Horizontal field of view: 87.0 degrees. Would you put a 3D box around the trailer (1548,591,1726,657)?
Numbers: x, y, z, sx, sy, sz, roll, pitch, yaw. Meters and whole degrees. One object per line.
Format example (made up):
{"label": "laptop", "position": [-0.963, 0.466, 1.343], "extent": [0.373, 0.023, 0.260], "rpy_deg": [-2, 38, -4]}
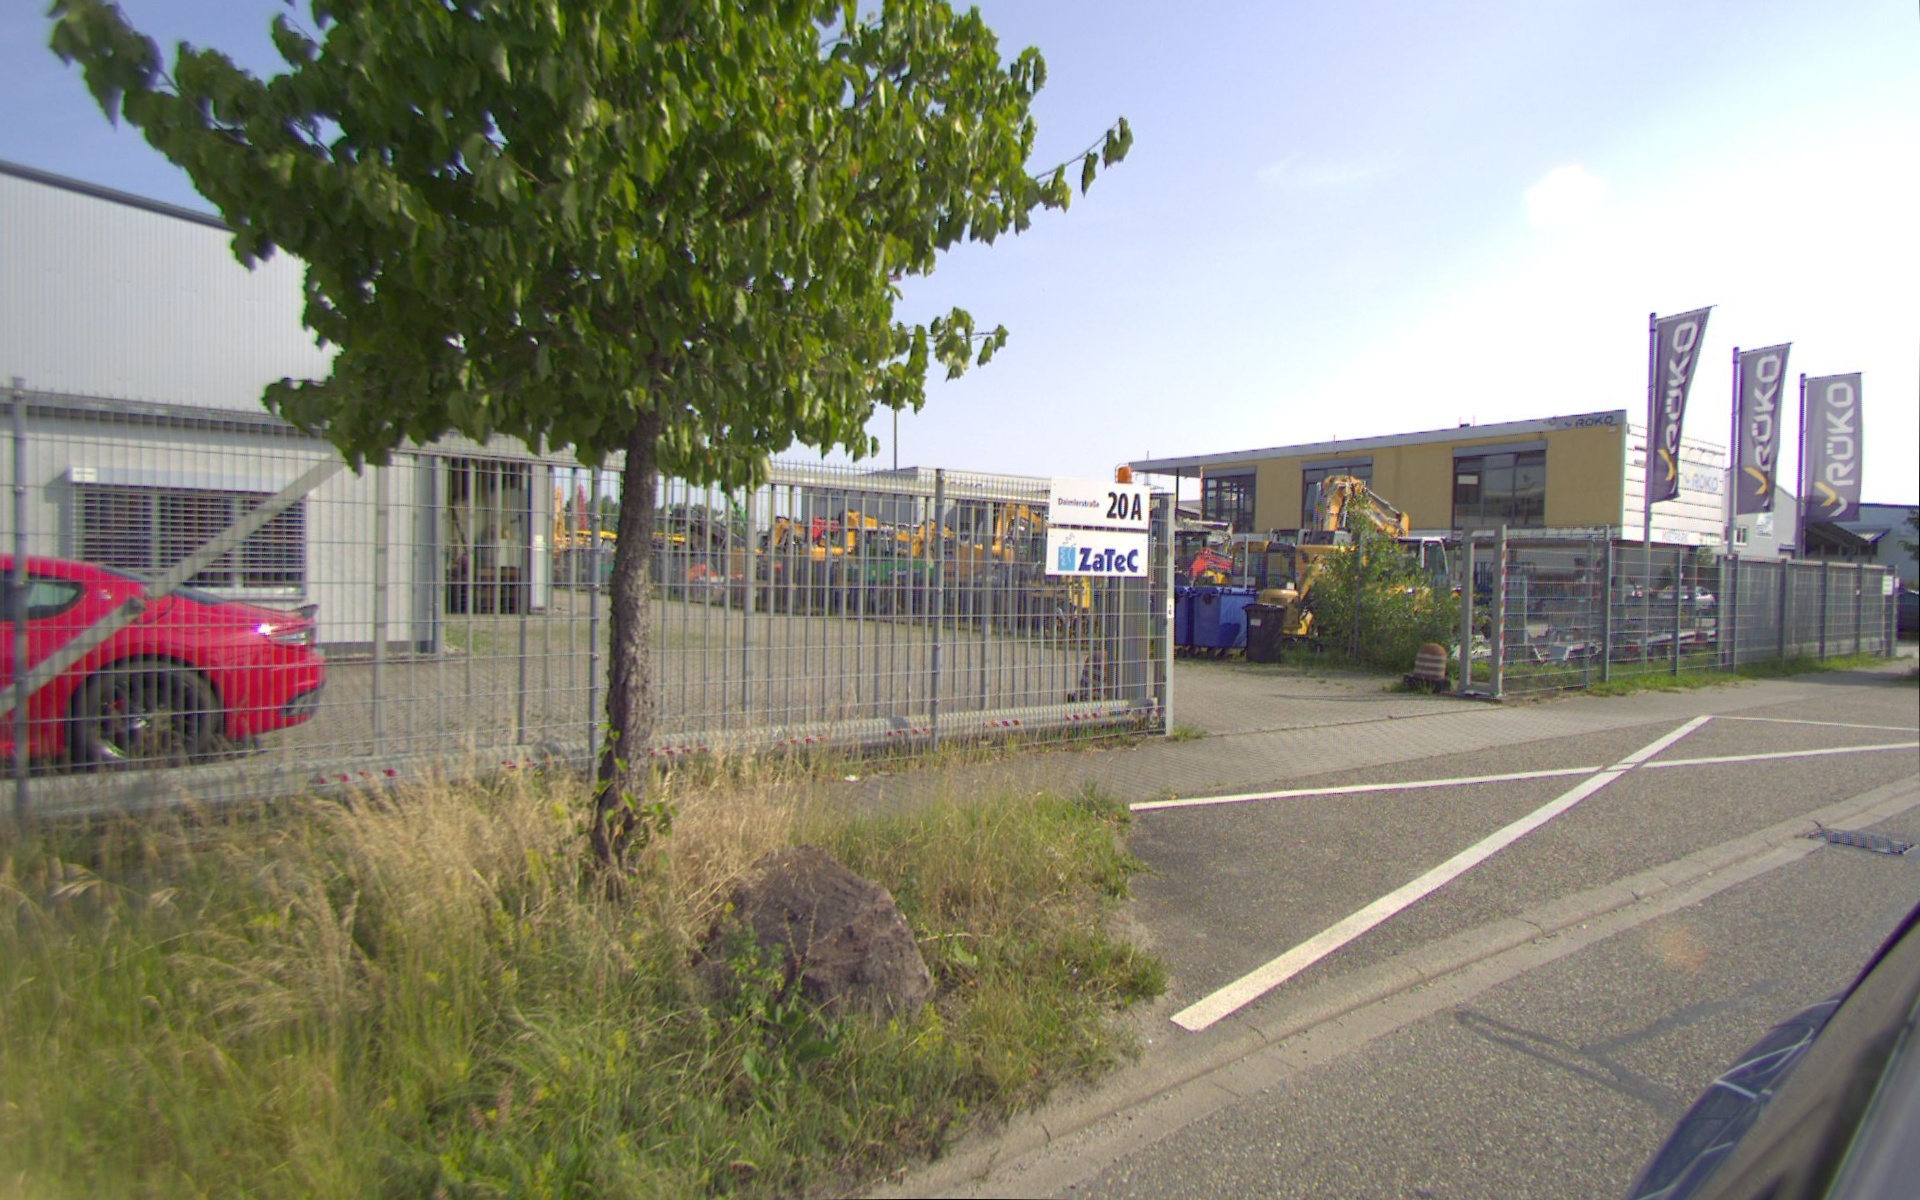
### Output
{"label": "trailer", "position": [14.952, 0.470, 22.278], "extent": [4.214, 1.259, 1.950], "rpy_deg": [0, 2, -37]}

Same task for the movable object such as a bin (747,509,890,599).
{"label": "movable object such as a bin", "position": [-6.411, -2.078, 46.295], "extent": [6.032, 3.827, 2.457], "rpy_deg": [-1, 3, -39]}

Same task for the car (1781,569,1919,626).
{"label": "car", "position": [29.608, -0.123, 32.952], "extent": [1.867, 1.759, 4.231], "rpy_deg": [-1, 2, -42]}

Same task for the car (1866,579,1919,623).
{"label": "car", "position": [34.350, 0.066, 34.999], "extent": [1.865, 1.514, 4.236], "rpy_deg": [1, 1, -38]}

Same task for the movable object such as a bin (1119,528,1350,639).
{"label": "movable object such as a bin", "position": [6.994, -0.455, 25.686], "extent": [5.237, 2.522, 2.933], "rpy_deg": [0, 2, -35]}

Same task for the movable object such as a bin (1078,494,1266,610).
{"label": "movable object such as a bin", "position": [8.082, -1.717, 38.150], "extent": [7.073, 3.977, 2.927], "rpy_deg": [0, 2, -37]}

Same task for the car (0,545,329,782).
{"label": "car", "position": [-6.705, 0.344, 6.167], "extent": [4.687, 1.374, 1.885], "rpy_deg": [0, 2, -39]}

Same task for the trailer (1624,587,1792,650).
{"label": "trailer", "position": [18.647, 0.387, 25.178], "extent": [4.476, 1.327, 2.001], "rpy_deg": [-2, 2, -34]}

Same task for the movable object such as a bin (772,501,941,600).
{"label": "movable object such as a bin", "position": [-4.397, -2.114, 44.015], "extent": [7.073, 3.977, 2.472], "rpy_deg": [-1, 3, -39]}

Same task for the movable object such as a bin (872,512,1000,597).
{"label": "movable object such as a bin", "position": [-1.123, -2.249, 50.248], "extent": [5.916, 3.977, 2.724], "rpy_deg": [-1, 3, -40]}

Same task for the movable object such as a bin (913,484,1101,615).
{"label": "movable object such as a bin", "position": [1.588, -1.585, 33.013], "extent": [5.609, 3.921, 2.694], "rpy_deg": [0, 2, -35]}

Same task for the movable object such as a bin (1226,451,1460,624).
{"label": "movable object such as a bin", "position": [12.214, -1.808, 32.005], "extent": [7.530, 4.866, 3.326], "rpy_deg": [0, 2, -37]}

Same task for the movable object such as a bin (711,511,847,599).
{"label": "movable object such as a bin", "position": [-8.681, -2.150, 48.780], "extent": [6.032, 3.977, 2.457], "rpy_deg": [-1, 3, -39]}

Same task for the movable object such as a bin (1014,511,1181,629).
{"label": "movable object such as a bin", "position": [3.893, -0.821, 28.333], "extent": [4.406, 3.069, 2.000], "rpy_deg": [0, 2, -35]}

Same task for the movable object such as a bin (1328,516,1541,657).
{"label": "movable object such as a bin", "position": [10.489, -0.315, 22.237], "extent": [5.061, 2.786, 1.893], "rpy_deg": [0, 2, -35]}

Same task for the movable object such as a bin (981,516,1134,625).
{"label": "movable object such as a bin", "position": [2.975, -0.883, 30.541], "extent": [4.290, 3.069, 2.000], "rpy_deg": [0, 2, -35]}

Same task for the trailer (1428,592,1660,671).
{"label": "trailer", "position": [11.201, 0.507, 19.316], "extent": [4.706, 1.259, 2.133], "rpy_deg": [0, 2, -37]}

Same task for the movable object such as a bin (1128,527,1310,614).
{"label": "movable object such as a bin", "position": [8.964, -0.990, 34.785], "extent": [6.230, 2.749, 2.709], "rpy_deg": [0, 2, -37]}
